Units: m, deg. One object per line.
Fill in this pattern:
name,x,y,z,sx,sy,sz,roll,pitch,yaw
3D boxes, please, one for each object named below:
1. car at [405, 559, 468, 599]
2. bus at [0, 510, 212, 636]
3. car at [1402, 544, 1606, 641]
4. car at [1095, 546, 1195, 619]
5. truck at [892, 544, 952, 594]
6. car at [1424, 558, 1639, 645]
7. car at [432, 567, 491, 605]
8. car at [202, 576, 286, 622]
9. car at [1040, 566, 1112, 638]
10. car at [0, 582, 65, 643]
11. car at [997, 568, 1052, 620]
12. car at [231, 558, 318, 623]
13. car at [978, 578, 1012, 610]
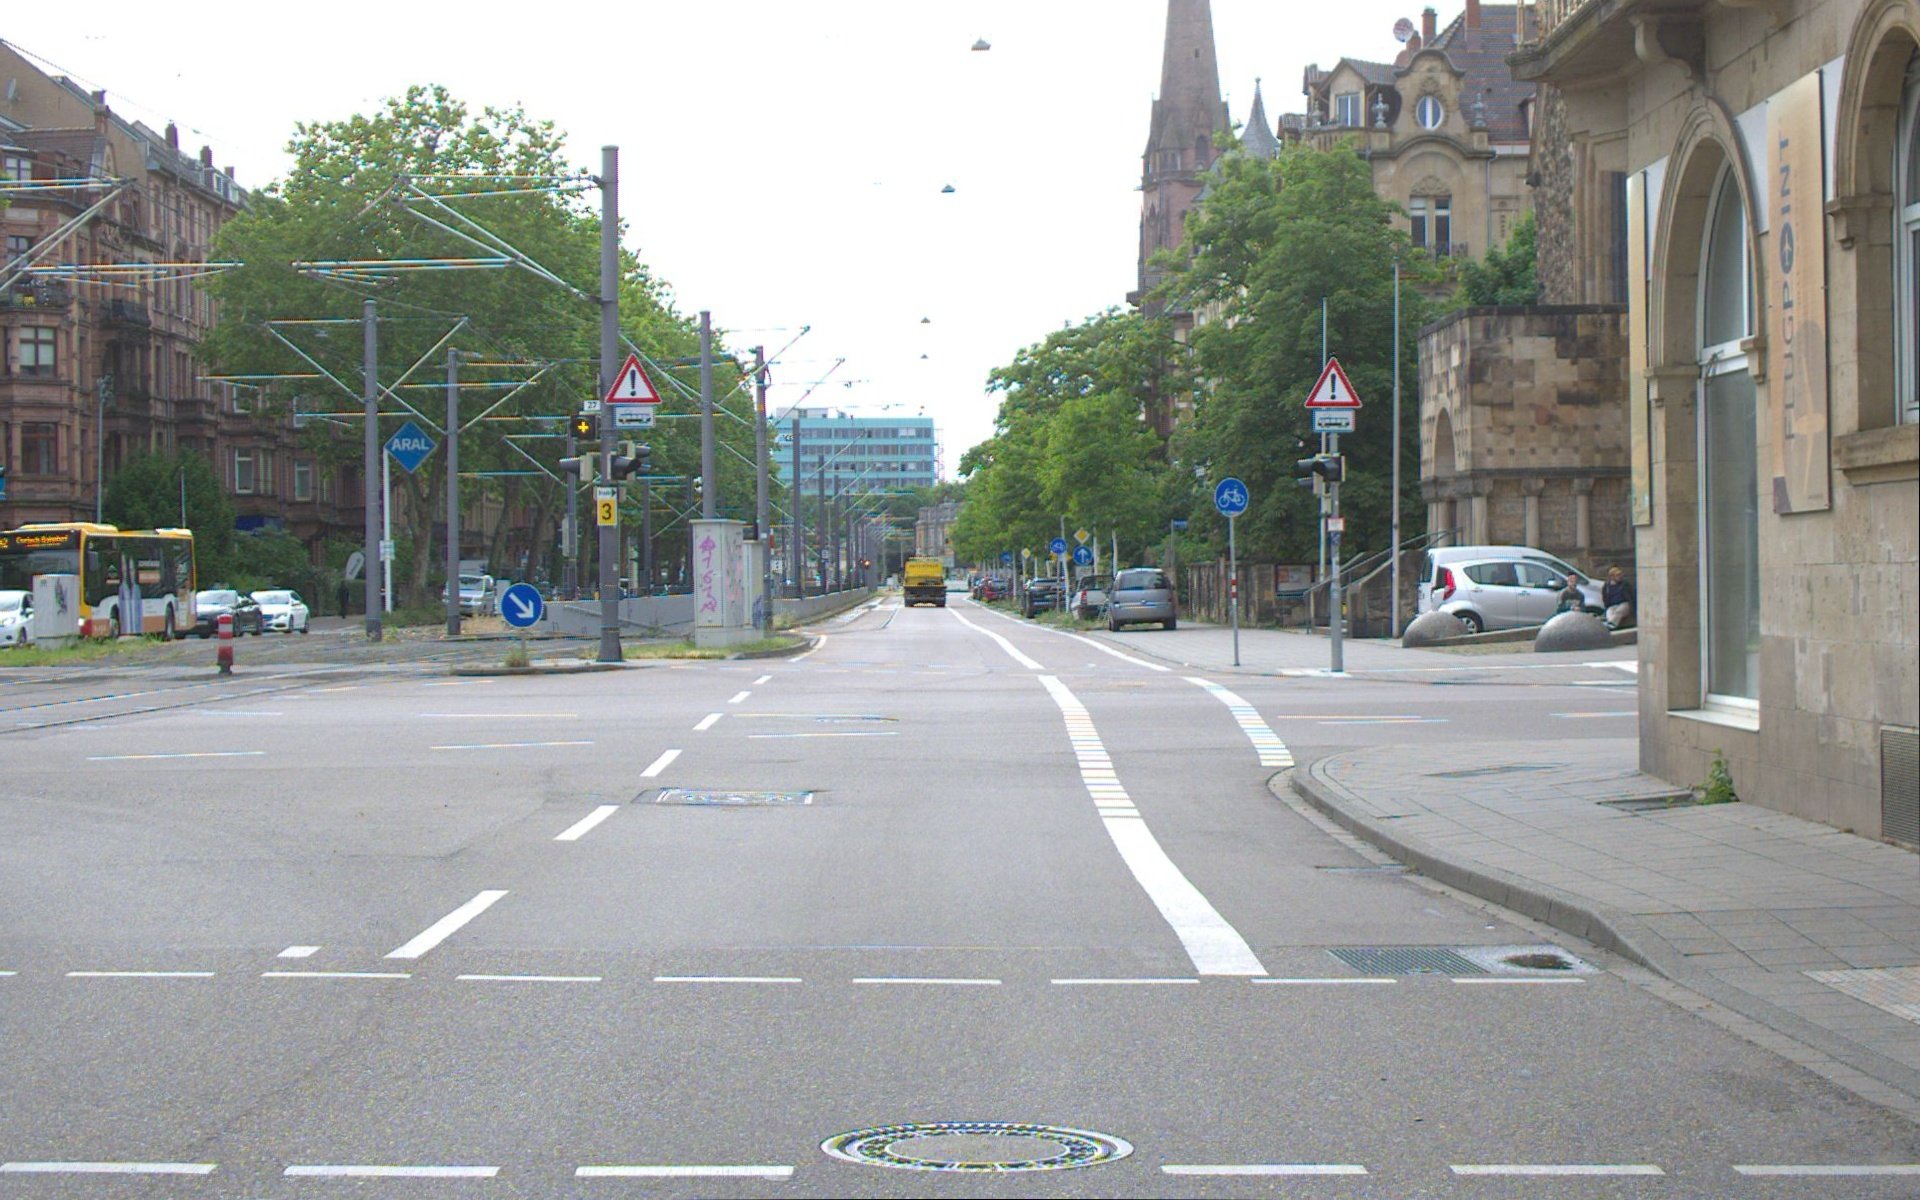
car,-21.540,-0.864,141.523,1.993,1.605,4.000,1,1,-1
bus,-22.481,-0.719,89.098,3.231,3.025,12.311,1,1,1
car,10.789,-0.158,68.407,3.713,1.849,2.000,1,0,0
car,4.864,-0.467,89.987,1.994,1.849,4.024,1,1,12
truck,-2.134,-1.793,197.859,3.055,2.760,9.815,0,1,2
car,10.761,0.020,64.915,3.713,1.558,2.000,1,0,0
car,-21.631,-0.623,149.340,1.993,1.605,4.000,1,1,-1
car,-21.267,-0.037,102.233,1.656,1.316,3.638,1,1,1
car,3.340,0.039,99.620,1.993,2.007,4.000,1,1,1
car,-21.914,0.269,79.048,1.656,1.316,3.638,1,1,1
car,2.535,-0.267,135.992,1.993,2.007,4.000,1,1,-1
car,-21.841,-0.308,109.605,1.993,2.007,4.000,1,1,-1
car,2.192,-0.388,216.840,1.993,2.007,4.000,1,1,-1
